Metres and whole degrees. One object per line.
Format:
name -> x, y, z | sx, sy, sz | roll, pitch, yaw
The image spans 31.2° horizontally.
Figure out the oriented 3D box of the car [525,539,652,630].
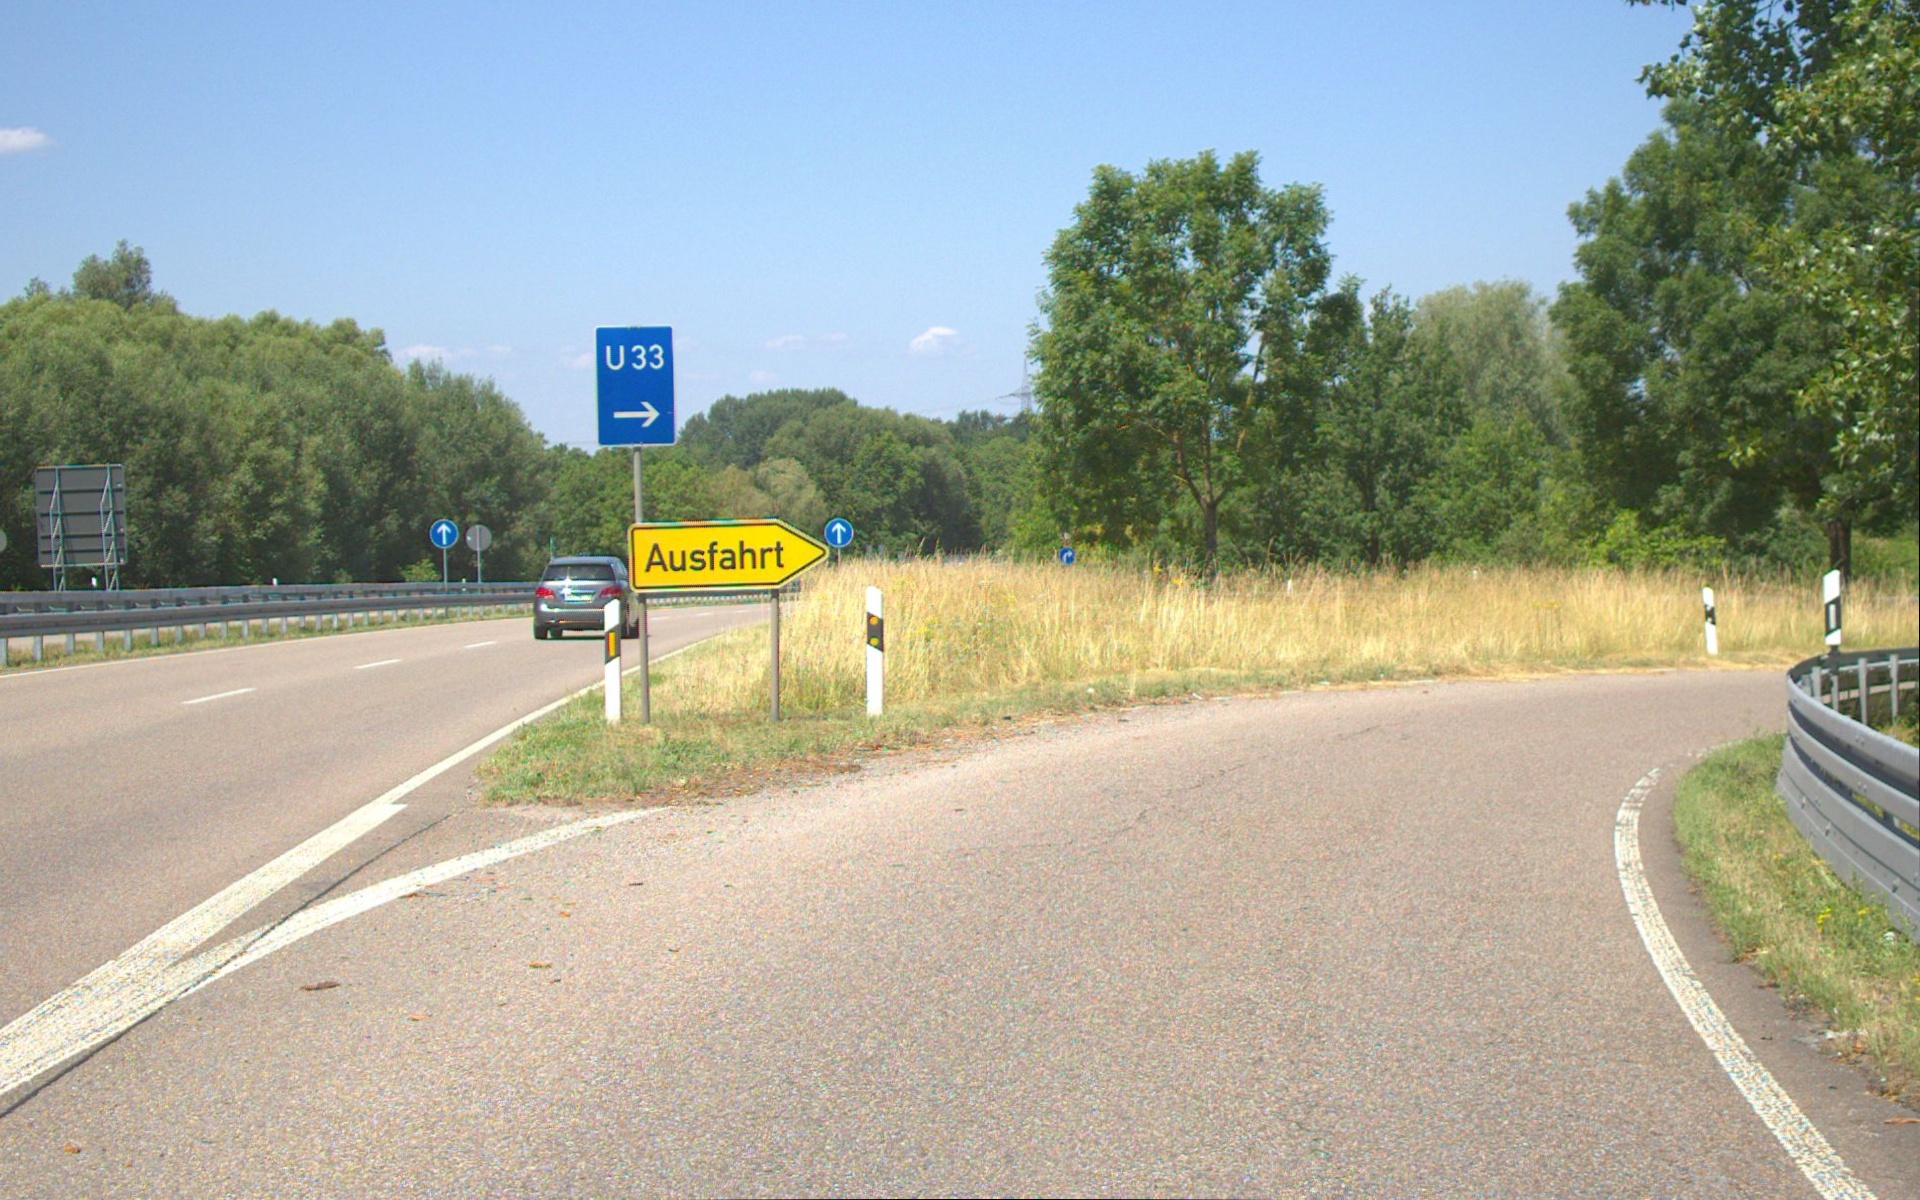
car -> -7.095, -0.300, 65.971 | 2.035, 1.667, 4.000 | 1, 1, -1
